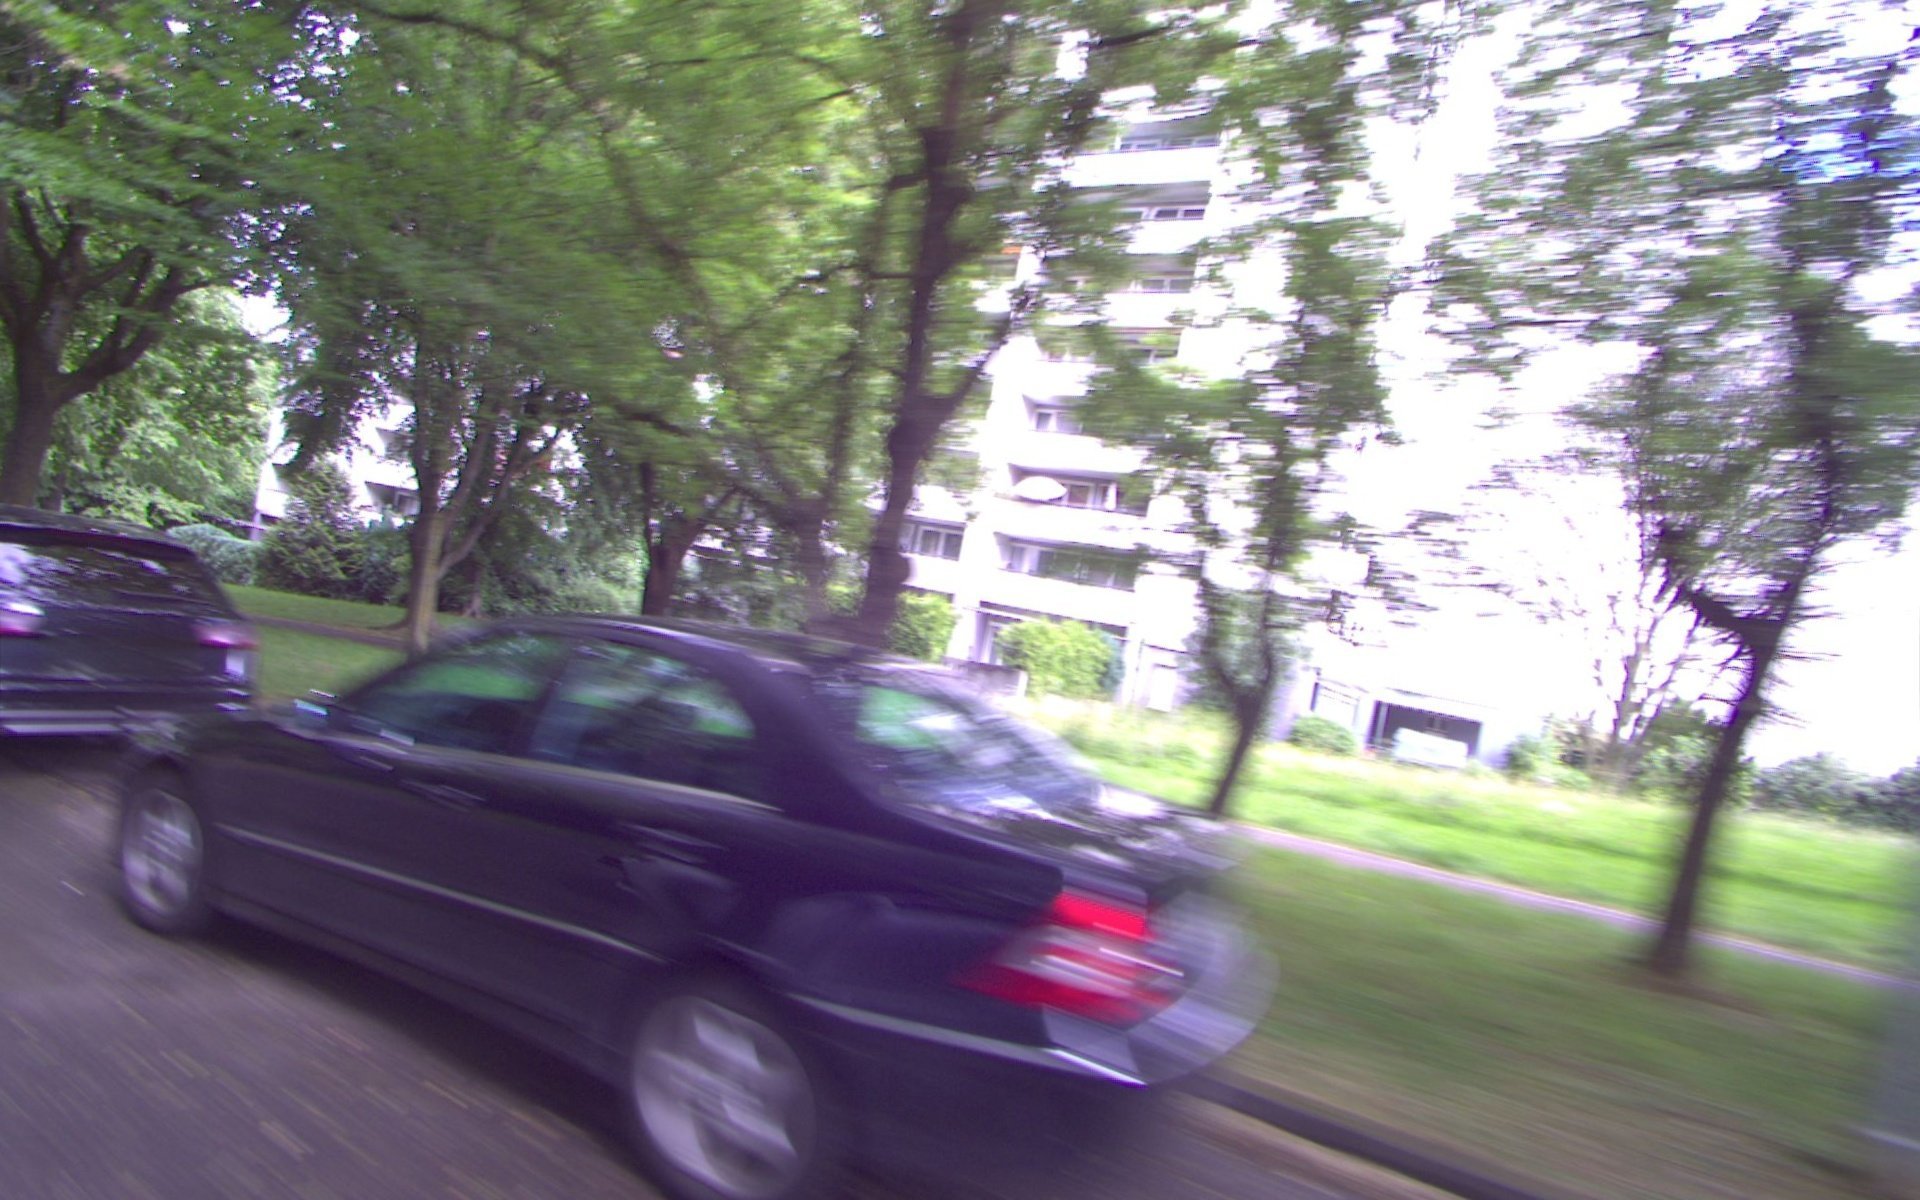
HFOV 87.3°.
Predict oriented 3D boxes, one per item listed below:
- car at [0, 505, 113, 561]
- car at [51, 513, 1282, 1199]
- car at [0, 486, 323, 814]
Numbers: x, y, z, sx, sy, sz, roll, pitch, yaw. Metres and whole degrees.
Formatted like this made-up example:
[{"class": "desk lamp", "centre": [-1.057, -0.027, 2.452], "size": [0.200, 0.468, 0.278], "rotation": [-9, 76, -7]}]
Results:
[{"class": "car", "centre": [-44.116, -3.279, 48.576], "size": [1.800, 1.868, 4.412], "rotation": [8, -3, 29]}, {"class": "car", "centre": [-1.236, 0.706, 3.648], "size": [4.240, 1.484, 1.592], "rotation": [8, 1, 27]}, {"class": "car", "centre": [-6.507, 0.061, 6.617], "size": [4.655, 1.629, 1.918], "rotation": [7, -3, 32]}]
